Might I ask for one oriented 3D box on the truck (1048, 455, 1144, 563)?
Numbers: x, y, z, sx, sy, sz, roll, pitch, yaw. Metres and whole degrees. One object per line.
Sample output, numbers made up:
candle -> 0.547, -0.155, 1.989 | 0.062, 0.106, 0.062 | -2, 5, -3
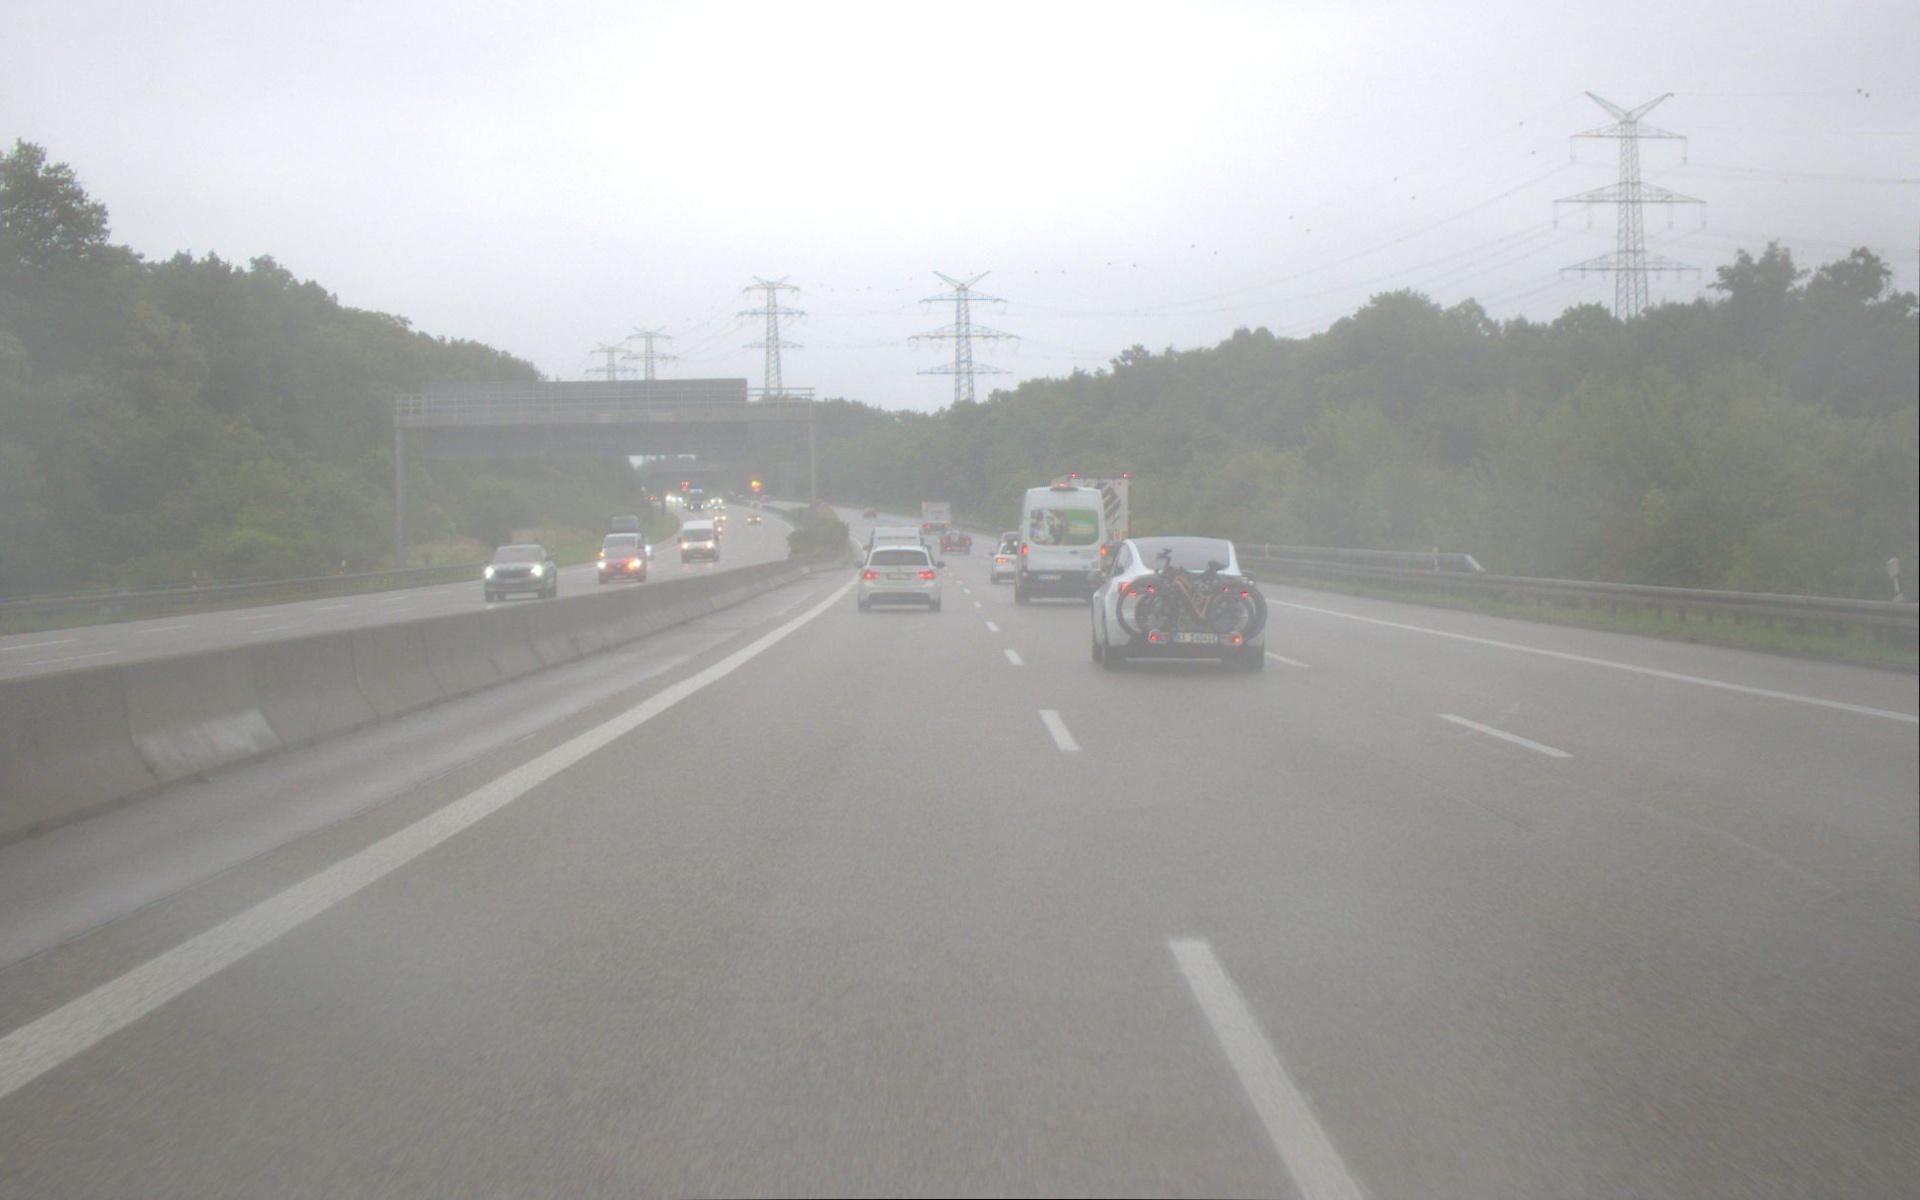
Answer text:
truck -> 5.638, -3.820, 145.092 | 3.603, 4.317, 13.200 | 0, 1, 1

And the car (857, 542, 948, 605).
car -> -1.247, -0.585, 74.026 | 1.866, 1.284, 4.000 | -1, 1, -1

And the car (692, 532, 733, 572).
car -> -14.881, -2.887, 206.639 | 2.276, 2.323, 6.176 | -1, 1, -6

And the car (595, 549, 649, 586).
car -> -13.463, -1.305, 137.005 | 1.634, 1.407, 4.367 | -1, 1, 1

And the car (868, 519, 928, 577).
car -> -1.993, -1.641, 109.764 | 1.846, 1.766, 4.000 | 1, 0, -1

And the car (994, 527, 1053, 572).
car -> 2.106, -1.691, 114.885 | 1.857, 1.417, 4.000 | 0, 2, 0

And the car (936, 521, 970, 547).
car -> -0.415, -4.083, 212.774 | 1.993, 1.568, 4.000 | -2, 1, -1

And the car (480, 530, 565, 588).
car -> -13.289, -1.268, 104.675 | 1.993, 1.682, 4.917 | -1, 1, -1

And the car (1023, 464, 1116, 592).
car -> 2.560, -1.692, 81.046 | 1.993, 2.854, 4.000 | -2, 1, 0

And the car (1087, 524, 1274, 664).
car -> 2.614, -0.120, 41.883 | 1.860, 1.562, 4.964 | 0, 2, -1

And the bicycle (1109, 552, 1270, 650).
bicycle -> 2.586, 0.008, 38.941 | 1.753, 1.087, 0.914 | 0, 0, -1
